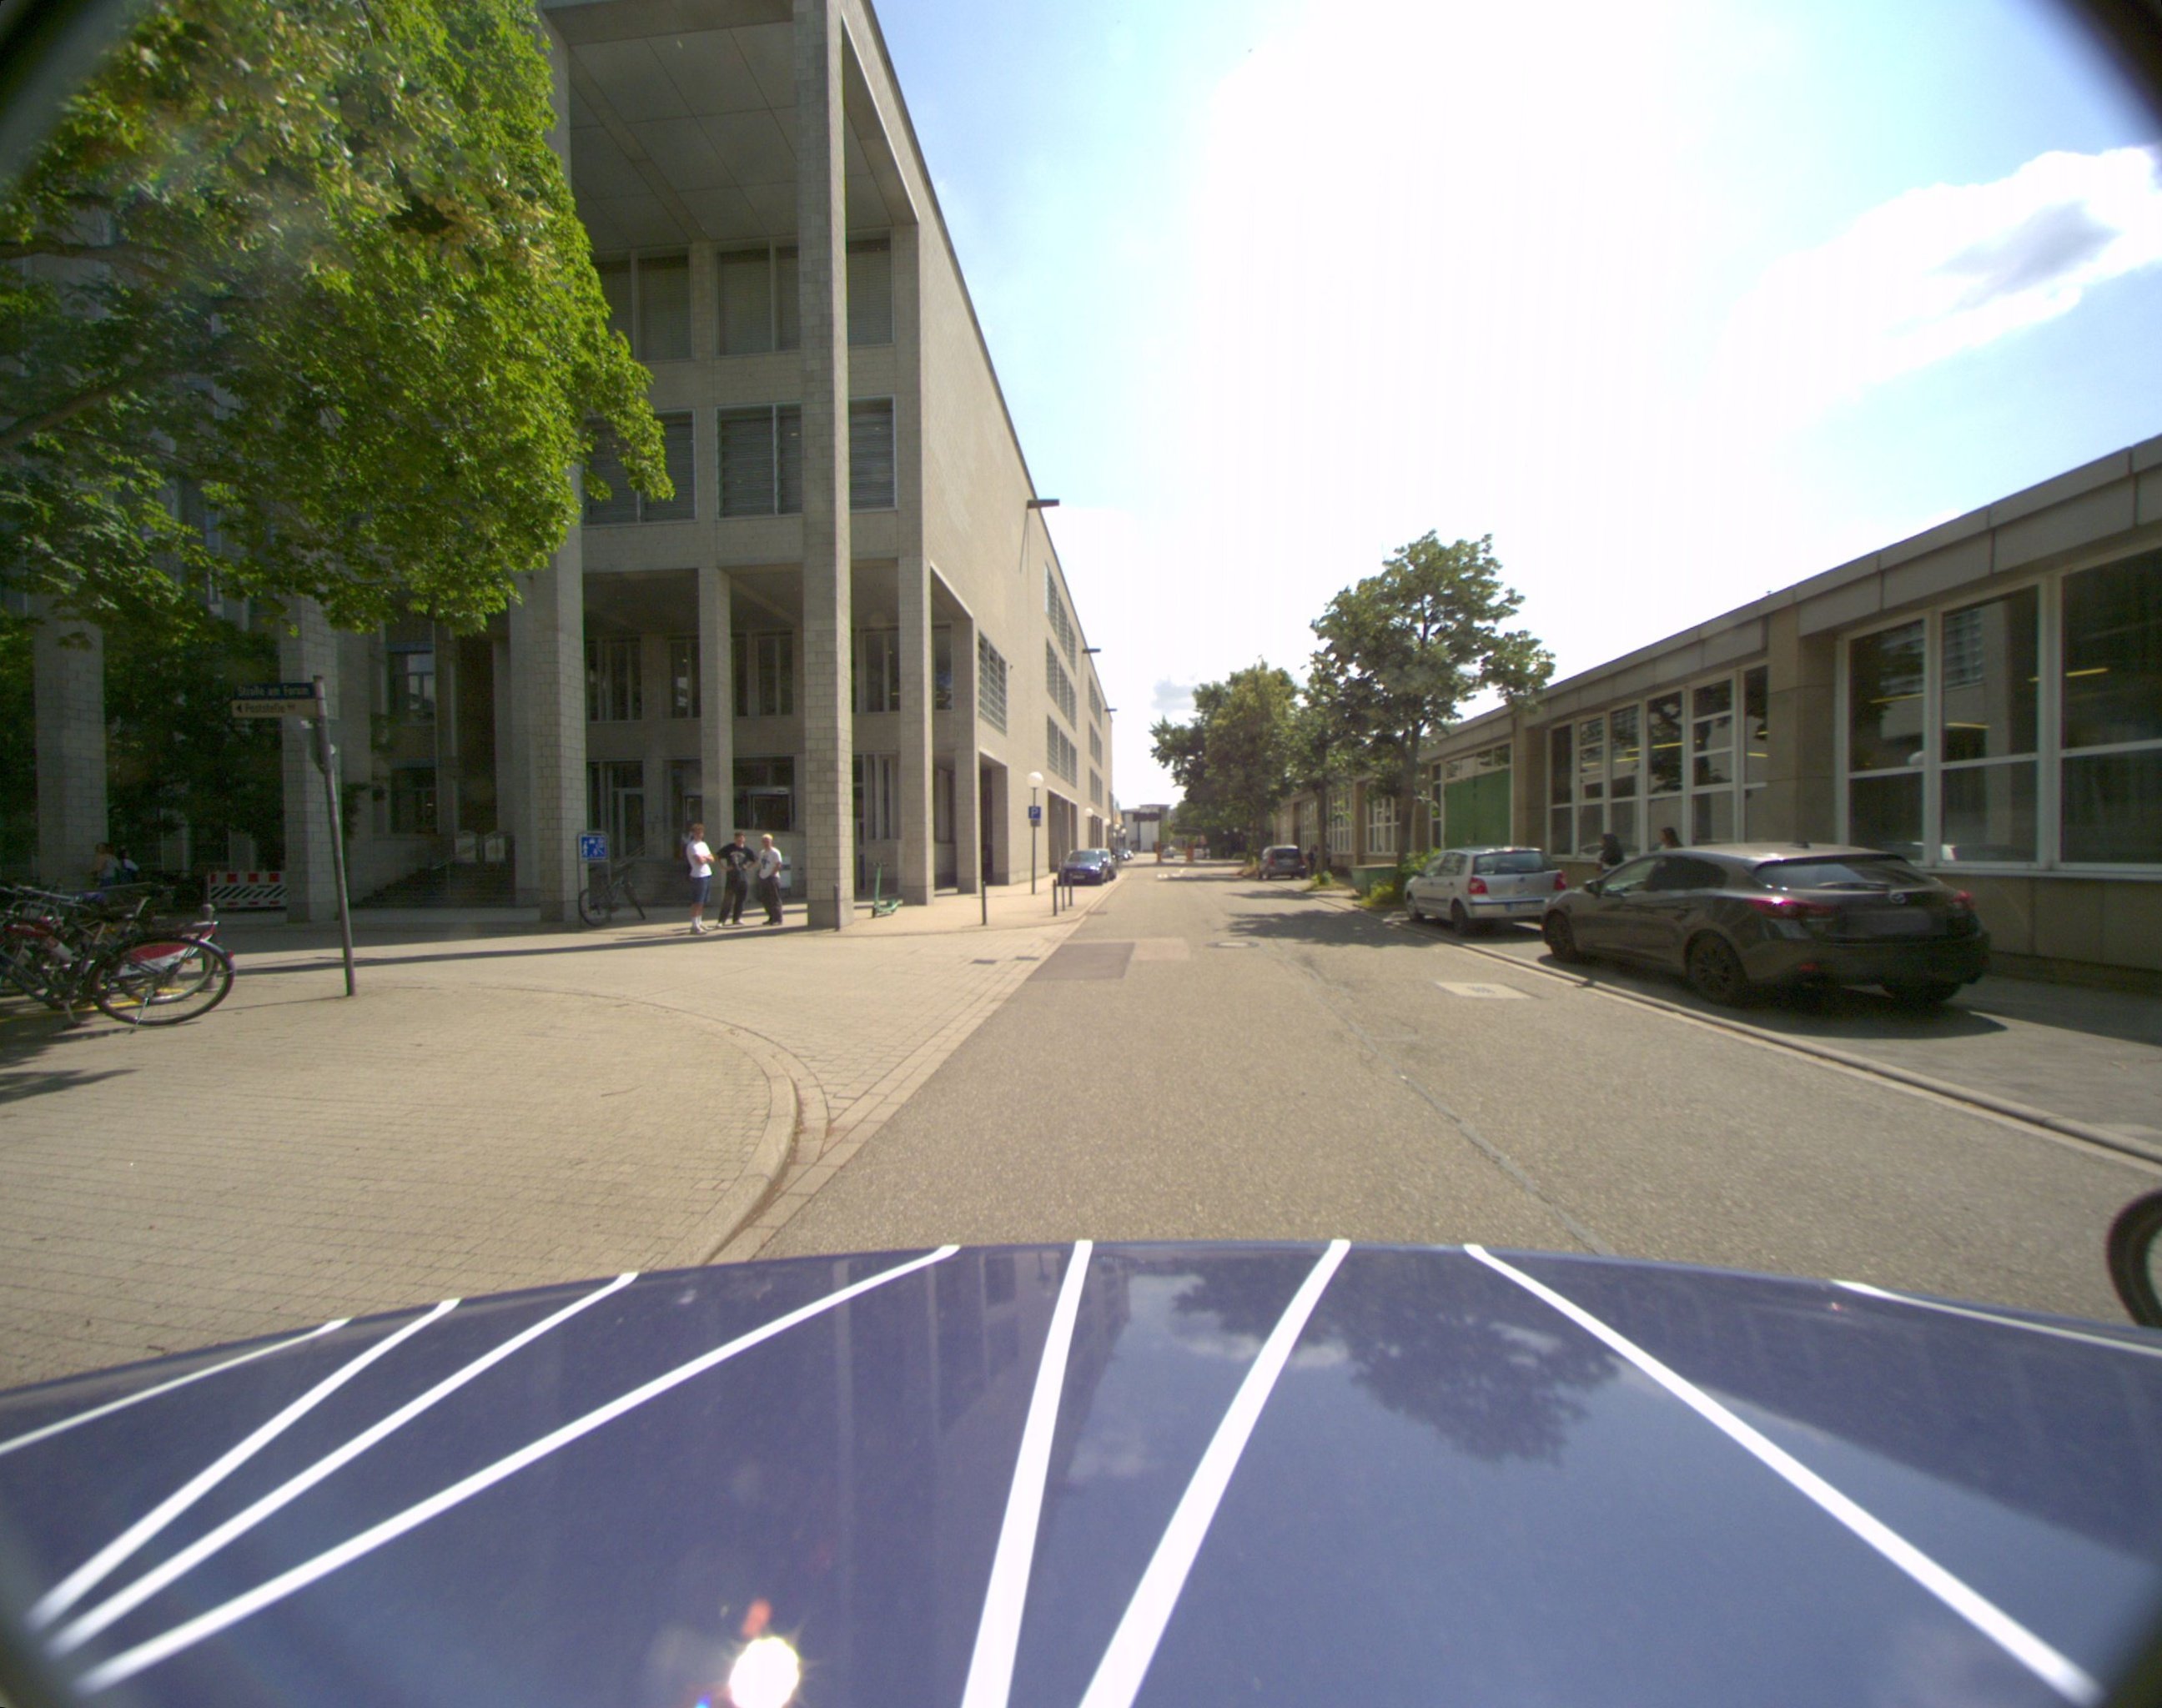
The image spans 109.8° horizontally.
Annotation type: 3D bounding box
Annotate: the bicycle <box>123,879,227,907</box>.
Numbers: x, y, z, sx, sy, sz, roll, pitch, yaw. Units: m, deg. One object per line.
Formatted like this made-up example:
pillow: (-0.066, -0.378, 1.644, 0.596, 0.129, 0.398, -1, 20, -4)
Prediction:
bicycle: (-25.243, 1.092, 21.189, 1.989, 0.755, 0.643, 0, 0, -4)

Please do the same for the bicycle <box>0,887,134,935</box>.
bicycle: (-21.368, 1.170, 15.958, 0.447, 0.894, 1.779, -1, 0, 24)

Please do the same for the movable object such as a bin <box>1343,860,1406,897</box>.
movable object such as a bin: (8.540, 0.703, 22.196, 1.294, 0.979, 1.697, -3, 0, 6)

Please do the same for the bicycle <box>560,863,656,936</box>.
bicycle: (-8.961, 0.827, 14.489, 0.531, 1.235, 1.830, 0, 2, 5)

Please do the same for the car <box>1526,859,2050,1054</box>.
car: (6.662, 0.813, 7.978, 1.729, 1.427, 4.291, -3, 0, 5)

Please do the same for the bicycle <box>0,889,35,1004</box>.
bicycle: (-10.569, 0.872, 6.728, 0.460, 1.079, 1.475, 1, -1, 7)

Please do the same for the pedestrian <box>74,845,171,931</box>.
pedestrian: (-19.990, 0.687, 15.864, 0.938, 1.730, 0.748, -1, 1, -13)

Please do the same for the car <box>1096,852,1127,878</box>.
car: (2.116, 0.729, 52.382, 1.798, 1.691, 4.002, 2, 0, 6)

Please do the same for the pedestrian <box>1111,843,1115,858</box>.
pedestrian: (3.391, -0.349, 80.550, 0.382, 1.620, 0.519, 2, 1, 7)

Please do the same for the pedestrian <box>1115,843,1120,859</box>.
pedestrian: (3.844, -0.336, 80.503, 0.382, 1.620, 0.519, 2, 1, 7)

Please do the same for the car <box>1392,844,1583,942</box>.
car: (7.050, 0.592, 13.634, 1.633, 1.441, 3.754, -3, 0, 5)

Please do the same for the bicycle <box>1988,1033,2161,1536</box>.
bicycle: (2.783, 1.038, 1.010, 0.818, 1.036, 1.930, -1, 4, 2)

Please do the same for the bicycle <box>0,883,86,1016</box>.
bicycle: (-9.685, 0.823, 6.381, 0.491, 1.134, 1.529, 1, -1, 25)

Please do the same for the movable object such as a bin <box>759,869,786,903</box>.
movable object such as a bin: (-8.842, 0.910, 21.799, 0.513, 0.944, 0.512, 2, 1, 4)

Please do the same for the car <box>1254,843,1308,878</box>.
car: (9.325, 0.272, 35.706, 1.802, 1.441, 3.677, -3, 0, 5)

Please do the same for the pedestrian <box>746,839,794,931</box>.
pedestrian: (-5.904, 0.570, 14.447, 0.613, 1.719, 0.543, 0, 1, 7)

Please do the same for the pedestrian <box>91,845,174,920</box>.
pedestrian: (-22.734, 0.667, 18.231, 0.938, 1.730, 0.748, -1, 1, -13)

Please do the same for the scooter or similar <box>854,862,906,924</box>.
scooter or similar: (-4.249, 0.801, 16.166, 0.564, 1.205, 1.511, 2, 1, 5)

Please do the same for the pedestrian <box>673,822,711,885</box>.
pedestrian: (-10.873, -0.005, 21.249, 0.690, 1.724, 0.685, -1, 1, -5)

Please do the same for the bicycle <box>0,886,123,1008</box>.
bicycle: (-10.061, 0.863, 7.045, 0.460, 1.079, 1.441, 1, -1, 3)

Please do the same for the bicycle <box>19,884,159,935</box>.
bicycle: (-20.545, 1.135, 15.796, 0.336, 0.894, 1.778, -1, 1, 11)

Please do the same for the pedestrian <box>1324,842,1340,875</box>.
pedestrian: (12.292, 0.230, 37.219, 0.605, 1.571, 0.551, 1, 1, 3)

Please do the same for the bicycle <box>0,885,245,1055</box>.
bicycle: (-8.024, 0.871, 6.264, 0.561, 1.135, 1.490, 1, 1, 3)

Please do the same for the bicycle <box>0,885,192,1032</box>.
bicycle: (-8.920, 0.862, 6.608, 0.561, 1.134, 1.490, 1, -1, 3)

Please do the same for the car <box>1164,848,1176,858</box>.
car: (14.718, -0.207, 125.762, 1.802, 1.441, 3.677, -3, 0, 5)

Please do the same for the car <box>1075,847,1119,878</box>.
car: (0.832, 0.404, 37.556, 1.842, 1.390, 3.880, 1, 0, 6)

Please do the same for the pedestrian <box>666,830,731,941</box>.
pedestrian: (-6.681, 0.527, 13.292, 0.686, 1.880, 0.686, -1, 2, 3)

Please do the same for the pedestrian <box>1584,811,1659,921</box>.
pedestrian: (8.753, 0.176, 12.324, 0.602, 1.718, 0.796, -1, 1, -14)

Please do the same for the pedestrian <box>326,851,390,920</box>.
pedestrian: (-18.650, 0.811, 19.606, 0.936, 1.730, 0.750, -1, 1, 14)

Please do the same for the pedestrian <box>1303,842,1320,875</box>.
pedestrian: (11.322, 0.214, 37.363, 0.604, 1.571, 0.552, 2, 1, 36)

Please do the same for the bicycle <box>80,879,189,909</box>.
bicycle: (-25.394, 1.071, 20.404, 1.989, 0.755, 0.643, 0, 0, -4)

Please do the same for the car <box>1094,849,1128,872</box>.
car: (1.910, 0.403, 47.382, 1.842, 1.390, 3.880, 1, 0, 6)

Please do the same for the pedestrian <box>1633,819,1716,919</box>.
pedestrian: (9.422, 0.223, 12.083, 0.664, 1.533, 0.796, -1, 1, -14)

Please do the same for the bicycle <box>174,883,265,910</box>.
bicycle: (-24.957, 1.229, 22.035, 1.988, 0.755, 0.644, 0, 0, 3)

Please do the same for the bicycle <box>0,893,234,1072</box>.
bicycle: (-7.457, 0.901, 5.454, 0.604, 1.135, 1.790, 2, 2, 39)

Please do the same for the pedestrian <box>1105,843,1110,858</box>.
pedestrian: (2.821, -0.391, 80.666, 0.441, 1.620, 0.570, 2, 1, 7)

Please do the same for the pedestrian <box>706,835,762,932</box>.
pedestrian: (-6.615, 0.533, 14.482, 0.811, 1.787, 0.618, -2, 2, -38)

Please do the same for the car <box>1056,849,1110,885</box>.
car: (0.145, 0.534, 32.119, 1.842, 1.390, 3.880, 1, 0, 6)

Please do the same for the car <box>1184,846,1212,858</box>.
car: (16.240, -0.345, 105.274, 3.672, 1.441, 1.805, -3, 1, 4)
